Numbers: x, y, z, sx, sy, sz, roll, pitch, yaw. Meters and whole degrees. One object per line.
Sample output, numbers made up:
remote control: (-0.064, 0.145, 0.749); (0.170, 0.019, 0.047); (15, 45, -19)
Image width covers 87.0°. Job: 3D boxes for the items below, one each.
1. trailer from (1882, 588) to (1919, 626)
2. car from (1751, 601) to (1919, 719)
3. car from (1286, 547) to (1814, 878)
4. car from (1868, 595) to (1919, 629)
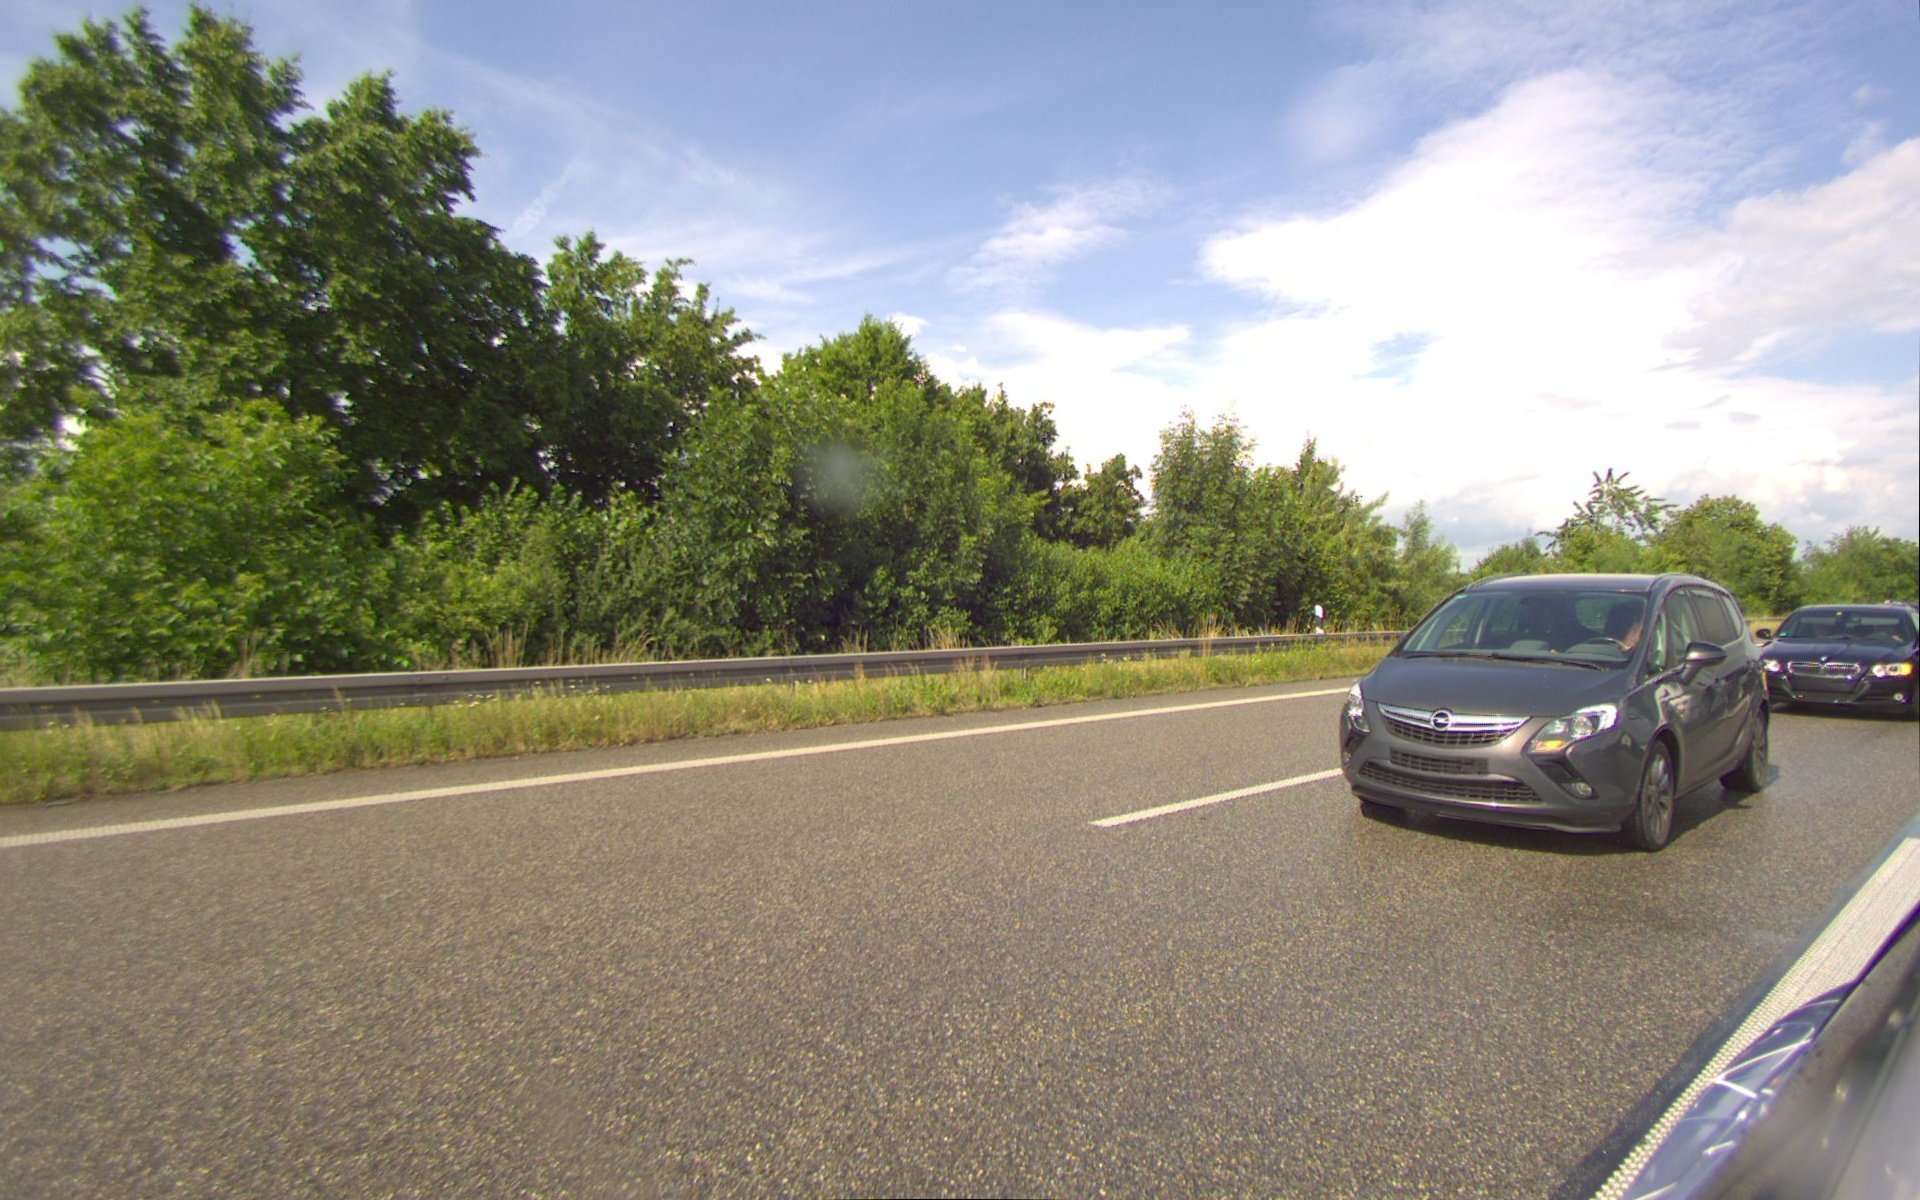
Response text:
trailer: (45.579, 0.299, 48.400); (3.899, 1.768, 1.808); (0, 0, -42)
car: (12.249, 0.709, 13.704); (3.816, 1.371, 1.721); (0, 0, -41)
car: (4.452, 0.545, 7.280); (4.652, 1.652, 1.857); (0, 1, -40)
car: (42.467, 0.493, 45.673); (4.329, 1.449, 1.745); (0, 1, -42)
